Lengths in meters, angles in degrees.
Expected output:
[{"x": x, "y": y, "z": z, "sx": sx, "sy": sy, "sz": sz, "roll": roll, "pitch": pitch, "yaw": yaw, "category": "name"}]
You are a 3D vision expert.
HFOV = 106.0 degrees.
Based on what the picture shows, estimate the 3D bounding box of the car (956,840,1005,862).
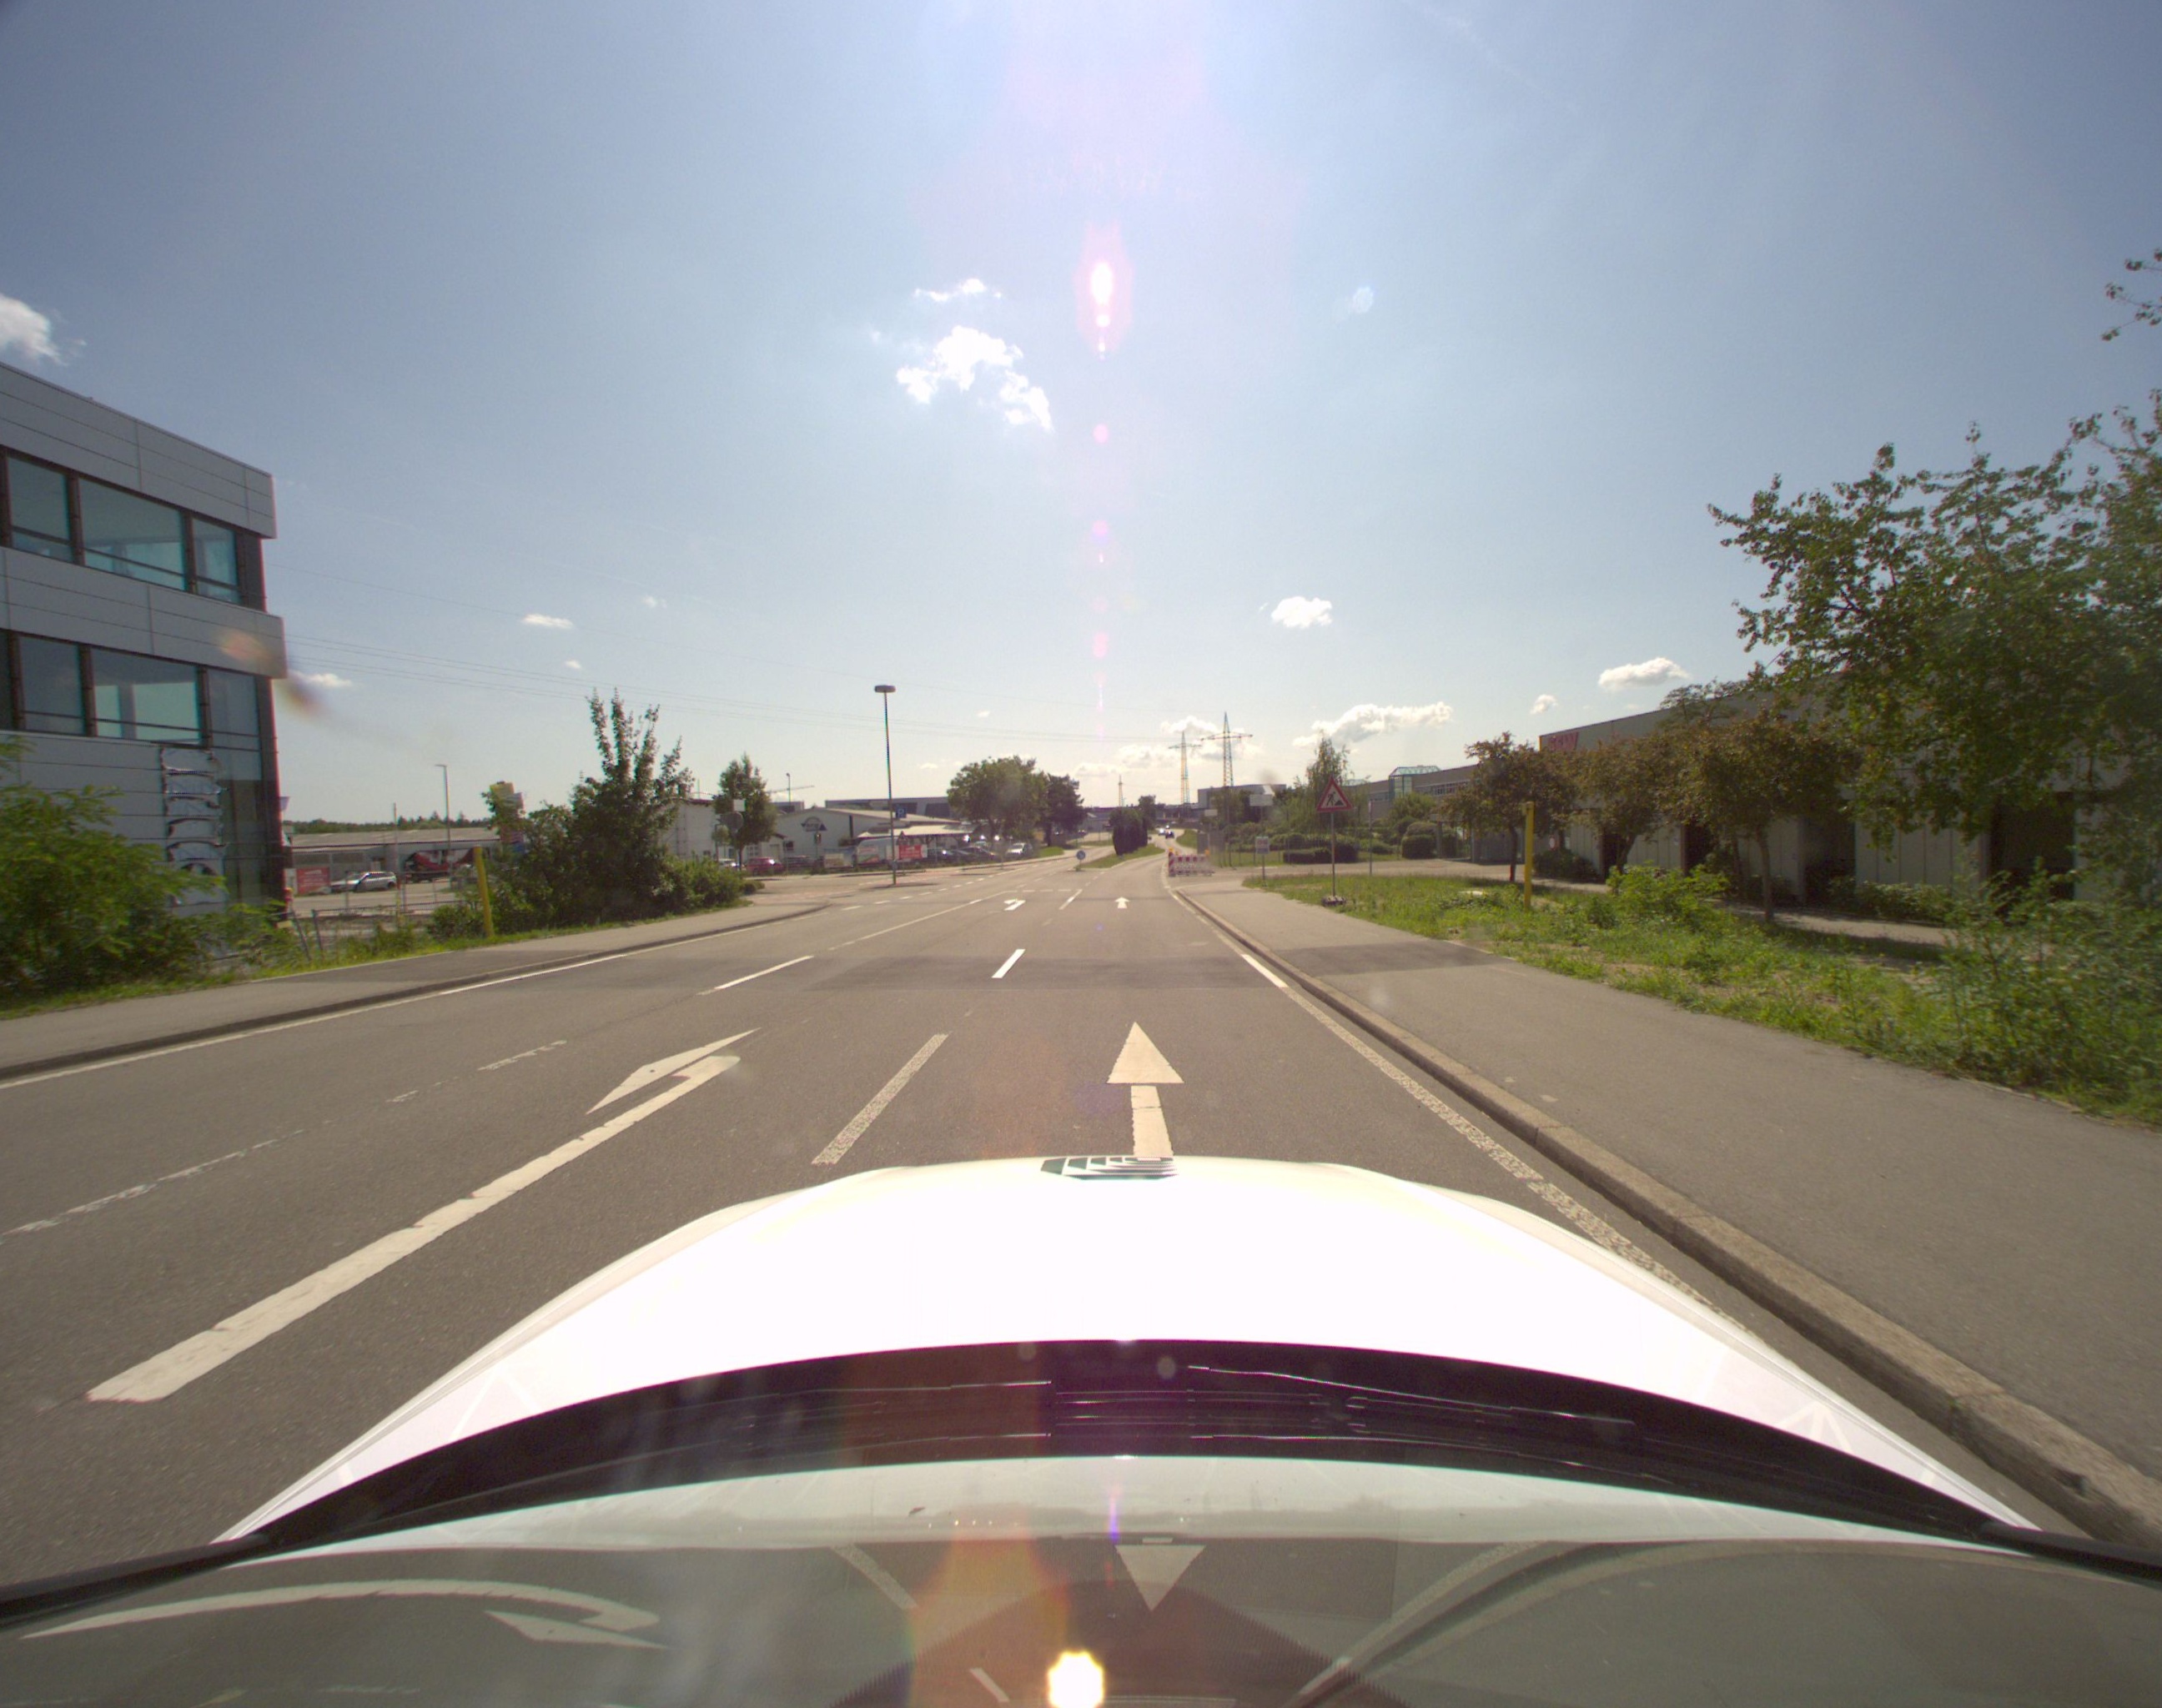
[{"x": -9.260, "y": -0.256, "z": 74.910, "sx": 3.951, "sy": 1.903, "sz": 2.012, "roll": 0, "pitch": 2, "yaw": 24, "category": "car"}]

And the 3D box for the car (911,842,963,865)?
[{"x": -11.994, "y": -0.023, "z": 67.887, "sx": 3.948, "sy": 1.780, "sz": 2.013, "roll": 0, "pitch": 3, "yaw": 34, "category": "car"}]

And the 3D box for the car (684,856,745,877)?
[{"x": -25.021, "y": 0.838, "z": 55.558, "sx": 3.882, "sy": 1.338, "sz": 1.736, "roll": -2, "pitch": 0, "yaw": 28, "category": "car"}]

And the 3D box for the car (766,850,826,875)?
[{"x": -20.434, "y": 0.555, "z": 58.309, "sx": 3.948, "sy": 1.653, "sz": 2.013, "roll": 0, "pitch": 3, "yaw": 33, "category": "car"}]

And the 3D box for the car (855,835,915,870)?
[{"x": -15.390, "y": -0.078, "z": 63.919, "sx": 4.309, "sy": 2.608, "sz": 2.013, "roll": -2, "pitch": 0, "yaw": 31, "category": "car"}]

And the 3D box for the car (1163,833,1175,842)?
[{"x": 18.223, "y": -3.431, "z": 169.378, "sx": 2.261, "sy": 1.946, "sz": 4.671, "roll": 1, "pitch": 1, "yaw": 4, "category": "car"}]

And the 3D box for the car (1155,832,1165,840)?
[{"x": 20.573, "y": -4.704, "z": 211.567, "sx": 2.478, "sy": 2.013, "sz": 4.675, "roll": -1, "pitch": 2, "yaw": 7, "category": "car"}]

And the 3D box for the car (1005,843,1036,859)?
[{"x": -6.060, "y": -0.297, "z": 81.727, "sx": 1.814, "sy": 1.517, "sz": 3.605, "roll": -2, "pitch": 1, "yaw": 17, "category": "car"}]

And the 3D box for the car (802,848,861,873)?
[{"x": -18.426, "y": 0.451, "z": 60.165, "sx": 3.948, "sy": 1.679, "sz": 2.013, "roll": 0, "pitch": 3, "yaw": 33, "category": "car"}]

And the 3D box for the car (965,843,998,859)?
[{"x": -12.441, "y": -0.409, "z": 102.080, "sx": 3.985, "sy": 1.850, "sz": 1.829, "roll": -2, "pitch": 1, "yaw": -9, "category": "car"}]

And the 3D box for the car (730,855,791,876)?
[{"x": -22.328, "y": 0.789, "z": 56.703, "sx": 3.948, "sy": 1.376, "sz": 2.013, "roll": -2, "pitch": 0, "yaw": 33, "category": "car"}]

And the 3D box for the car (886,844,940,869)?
[{"x": -13.618, "y": 0.174, "z": 65.852, "sx": 3.948, "sy": 1.903, "sz": 2.013, "roll": 0, "pitch": 3, "yaw": 34, "category": "car"}]

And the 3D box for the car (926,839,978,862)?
[{"x": -11.059, "y": -0.310, "z": 69.872, "sx": 3.949, "sy": 1.903, "sz": 2.013, "roll": 0, "pitch": 3, "yaw": 29, "category": "car"}]
